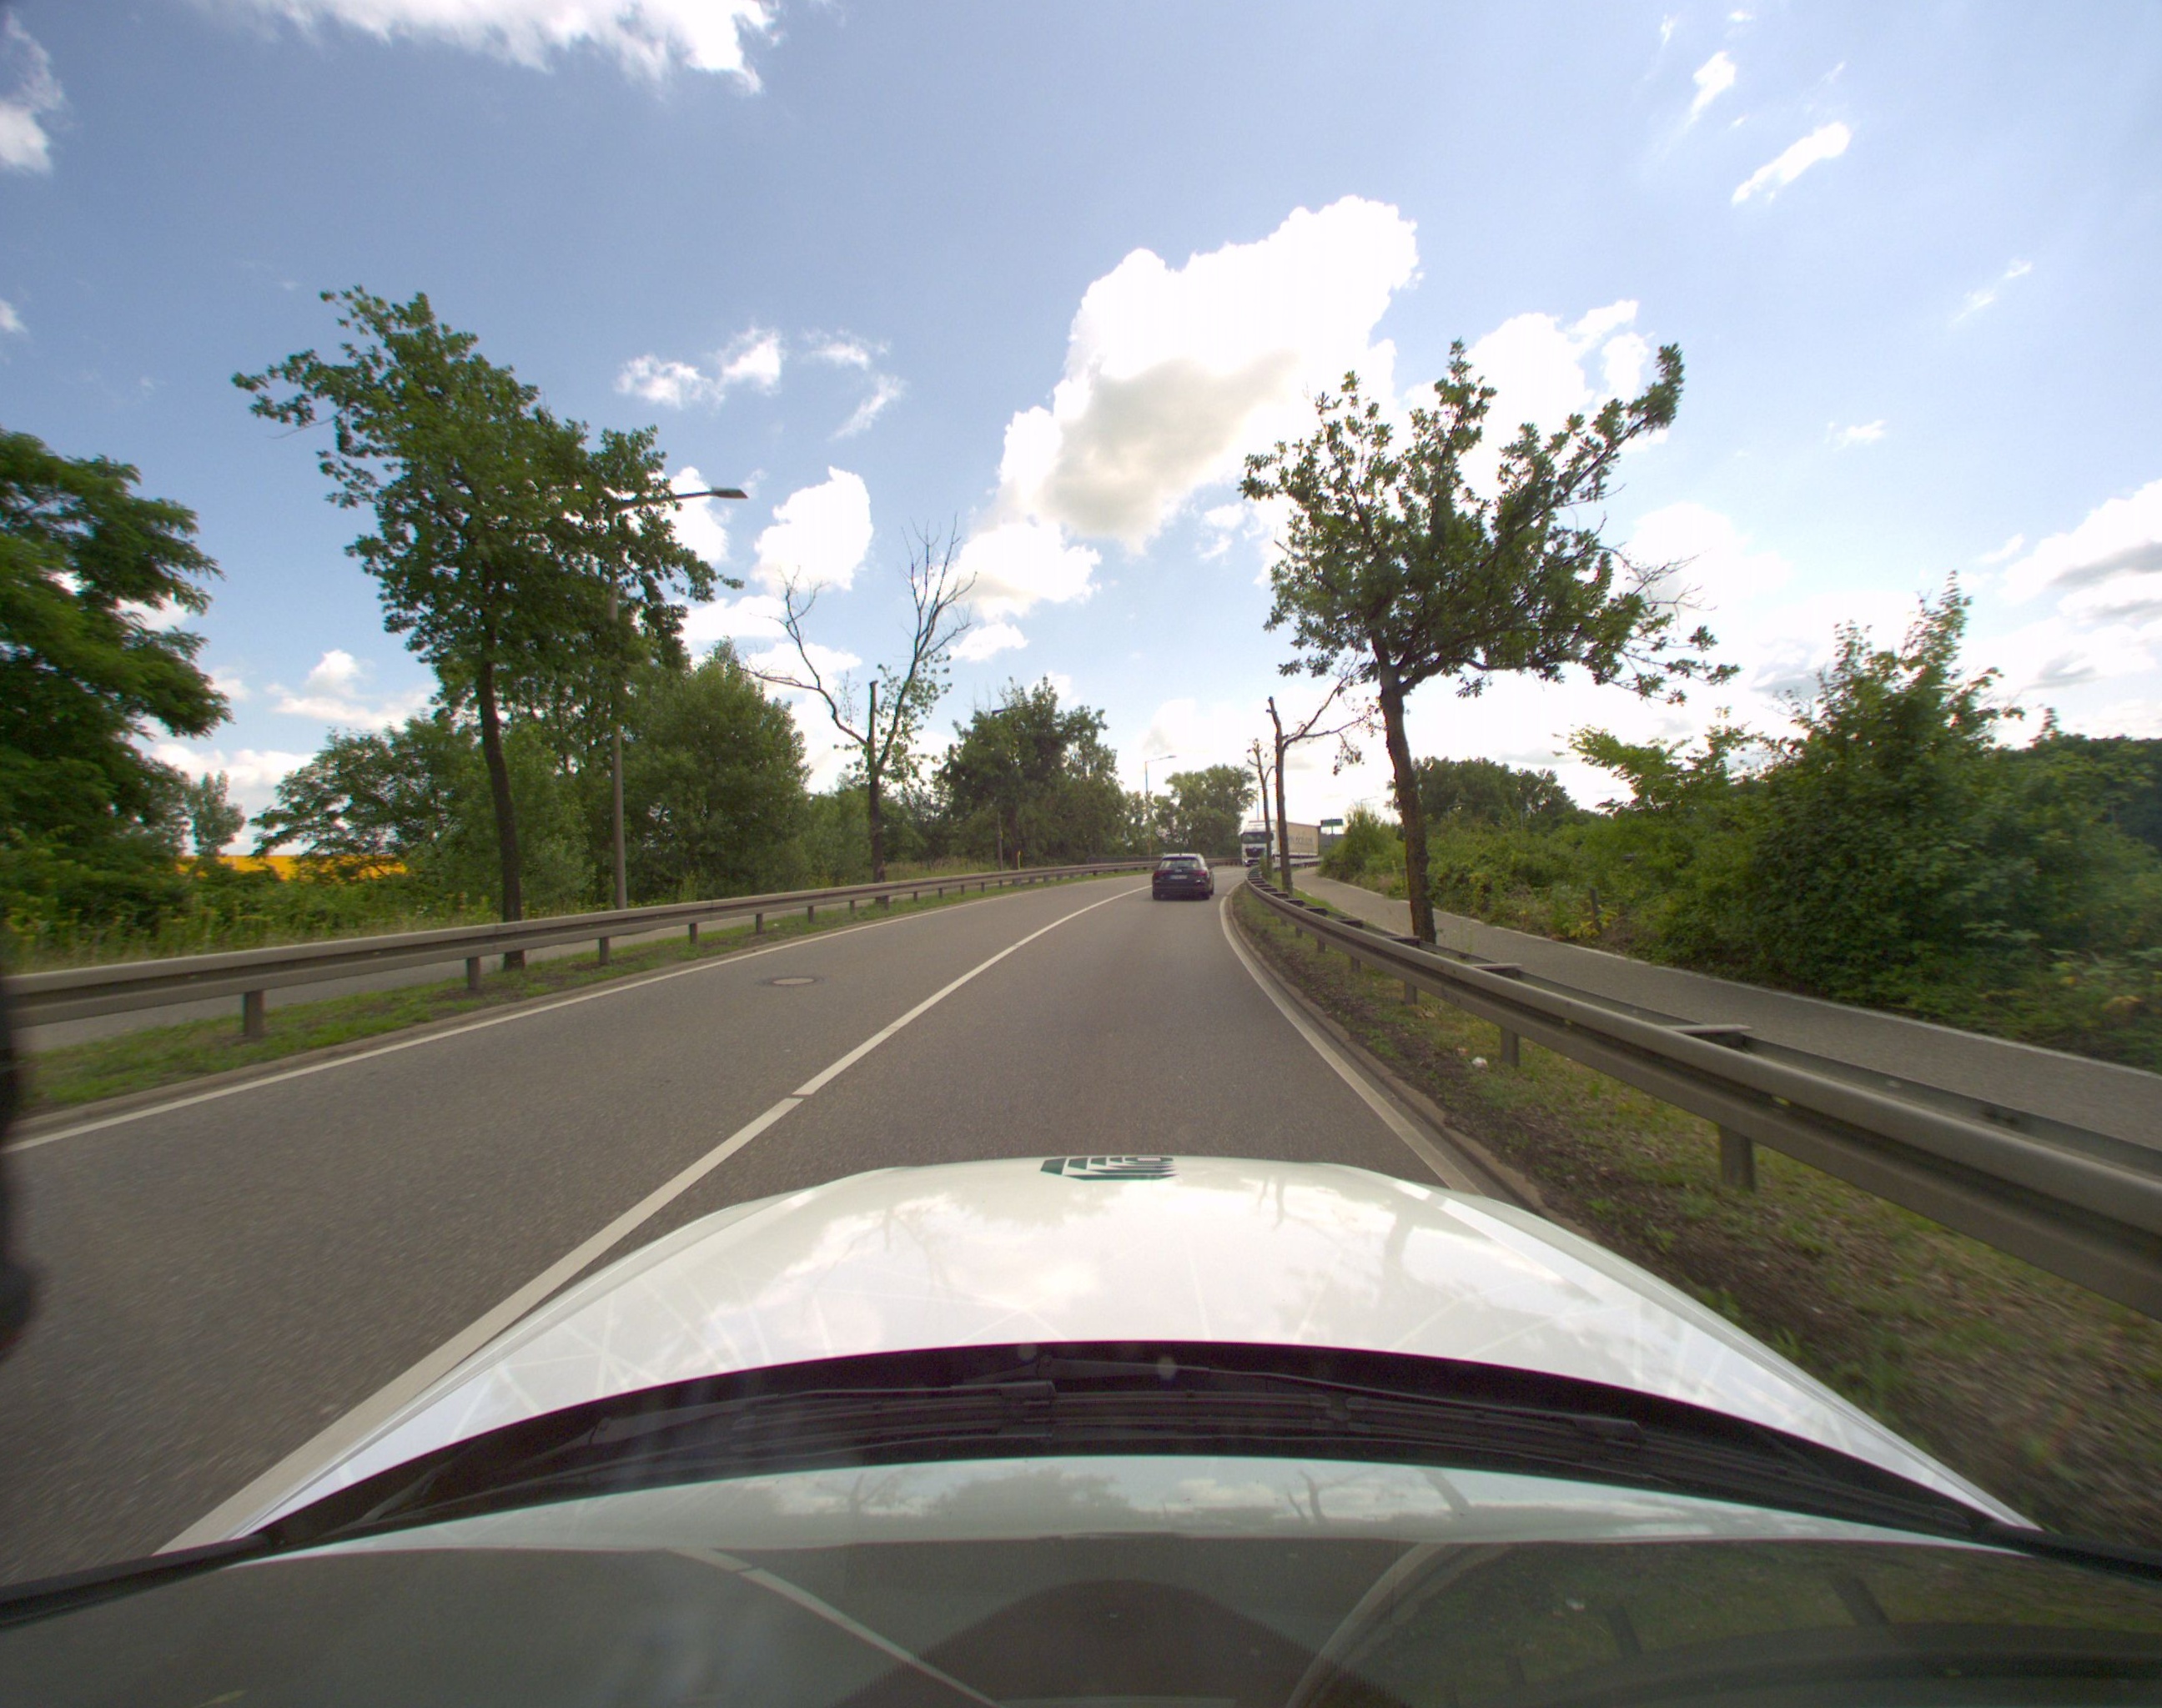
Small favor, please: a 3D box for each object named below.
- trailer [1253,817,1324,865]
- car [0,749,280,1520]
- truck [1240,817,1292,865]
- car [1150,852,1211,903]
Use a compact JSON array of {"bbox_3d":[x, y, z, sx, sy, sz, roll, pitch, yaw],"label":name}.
[{"bbox_3d":[20.355,-1.195,78.947,2.680,4.280,14.320,-1,0,30],"label":"trailer"},{"bbox_3d":[-3.387,0.625,0.269,1.845,1.709,4.315,0,0,3],"label":"car"},{"bbox_3d":[16.482,-1.121,72.332,2.735,4.134,5.689,-1,0,31],"label":"truck"},{"bbox_3d":[3.215,0.716,26.662,1.818,1.491,4.214,0,1,6],"label":"car"}]
